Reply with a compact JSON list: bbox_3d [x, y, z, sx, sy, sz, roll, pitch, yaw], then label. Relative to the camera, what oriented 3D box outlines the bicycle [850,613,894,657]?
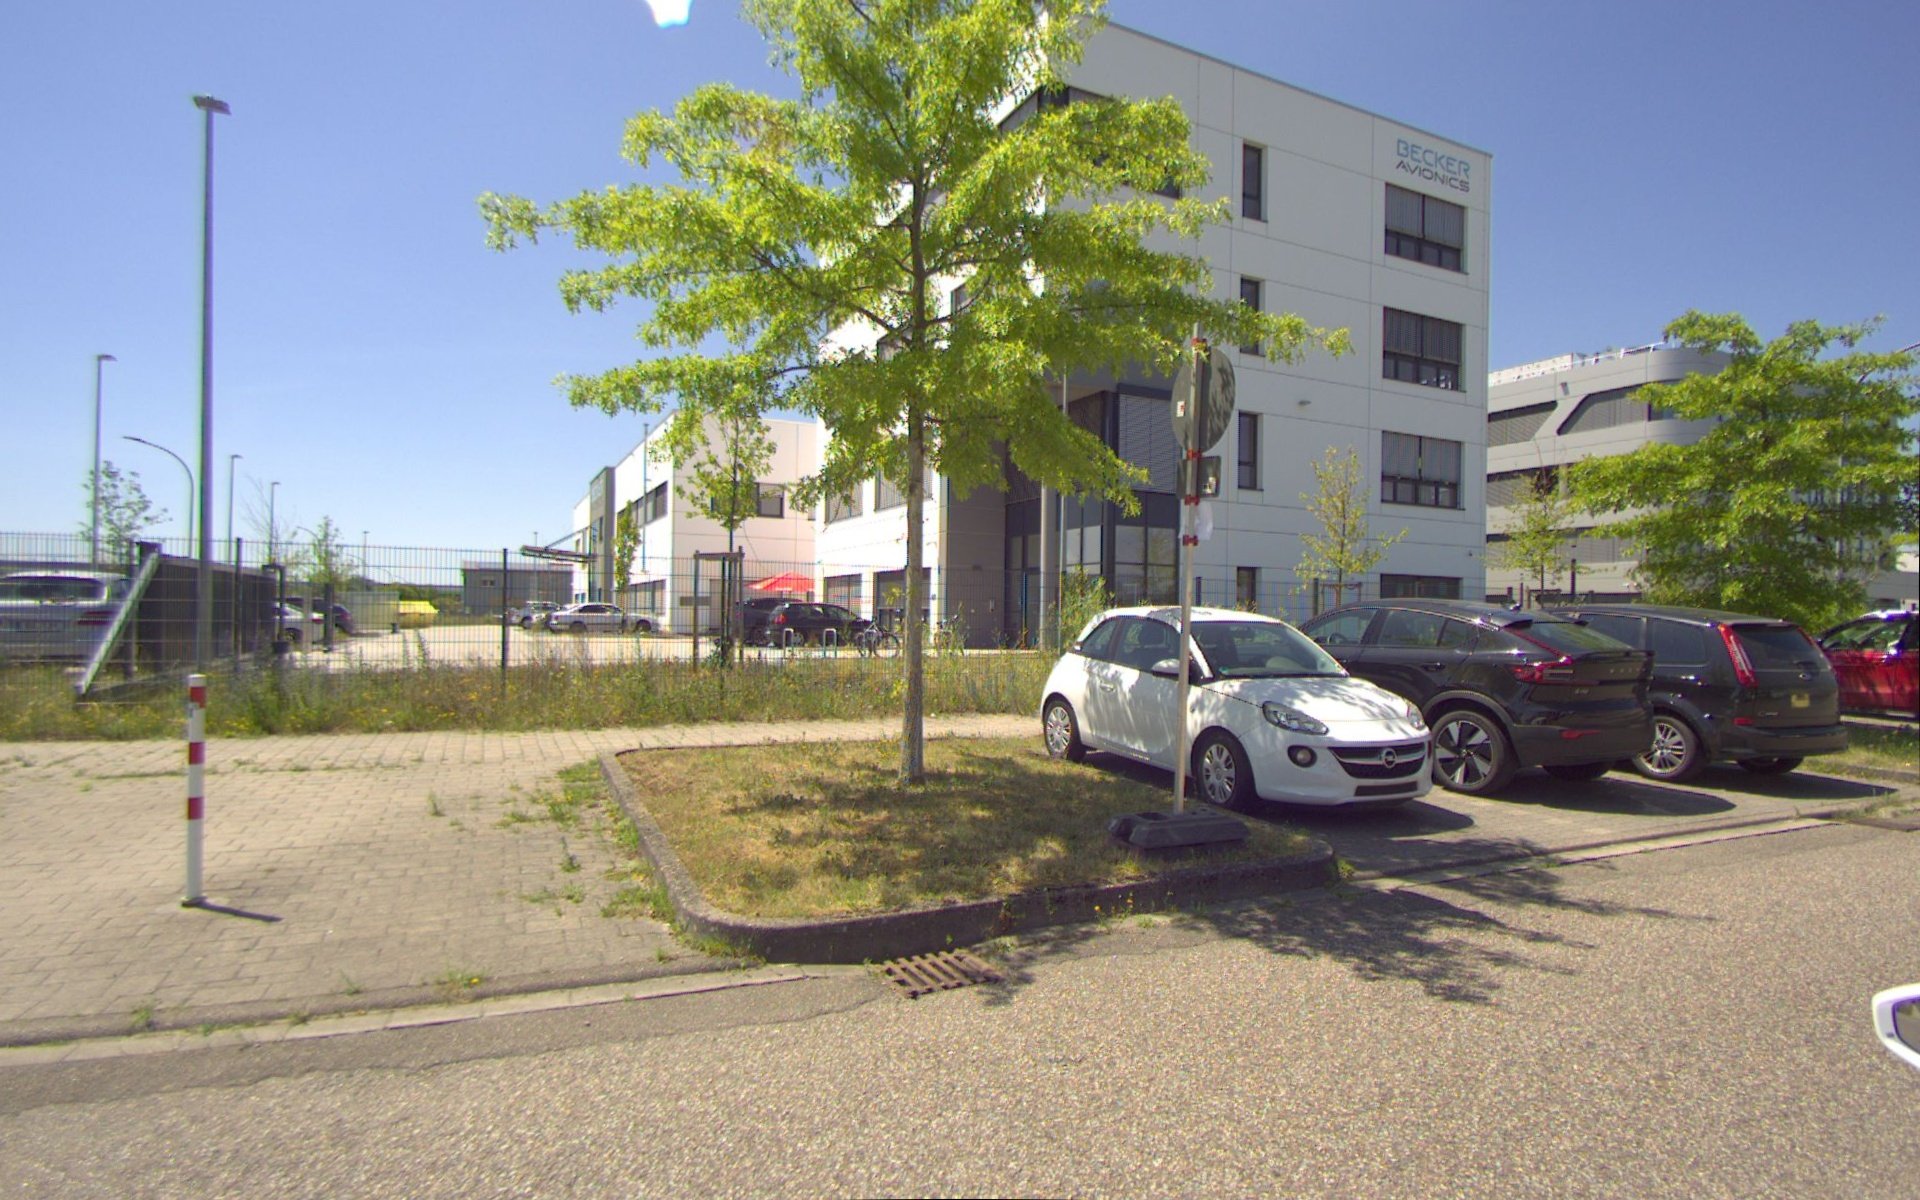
[{"bbox_3d":[-2.098,0.820,23.752,0.456,0.995,1.586,1,-1,-27],"label":"bicycle"}]

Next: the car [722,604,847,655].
[{"bbox_3d":[-6.107,1.016,35.021,3.949,1.706,1.769,1,-1,-27],"label":"car"}]

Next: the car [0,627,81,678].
[{"bbox_3d":[-28.761,1.567,30.913,1.676,1.395,3.970,1,-1,-28],"label":"car"}]

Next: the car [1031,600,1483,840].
[{"bbox_3d":[2.211,0.787,8.395,1.705,1.460,3.492,1,1,-26],"label":"car"}]

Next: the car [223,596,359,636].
[{"bbox_3d":[-26.795,0.661,40.403,4.347,1.534,1.688,1,-1,-27],"label":"car"}]

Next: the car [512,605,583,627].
[{"bbox_3d":[-26.911,1.034,65.525,4.111,1.357,1.769,1,-1,-27],"label":"car"}]

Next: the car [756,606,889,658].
[{"bbox_3d":[-4.473,1.039,32.796,3.949,1.623,1.769,1,-1,-27],"label":"car"}]

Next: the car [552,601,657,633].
[{"bbox_3d":[-16.070,0.791,45.372,4.282,1.357,1.769,1,-1,-27],"label":"car"}]

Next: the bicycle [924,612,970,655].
[{"bbox_3d":[-0.320,0.801,24.432,0.456,0.995,1.586,1,-1,-27],"label":"bicycle"}]

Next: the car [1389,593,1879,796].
[{"bbox_3d":[6.675,0.786,10.452,1.705,1.613,3.893,1,1,-26],"label":"car"}]

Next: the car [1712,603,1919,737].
[{"bbox_3d":[12.555,0.908,13.261,1.706,1.613,3.823,1,1,-27],"label":"car"}]

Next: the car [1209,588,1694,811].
[{"bbox_3d":[4.413,0.742,9.634,1.807,1.615,3.821,1,1,-29],"label":"car"}]

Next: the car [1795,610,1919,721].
[{"bbox_3d":[14.942,0.997,14.423,1.782,1.533,4.160,0,2,-24],"label":"car"}]

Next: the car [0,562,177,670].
[{"bbox_3d":[-13.611,0.241,15.495,1.701,1.483,3.656,1,-1,-27],"label":"car"}]
